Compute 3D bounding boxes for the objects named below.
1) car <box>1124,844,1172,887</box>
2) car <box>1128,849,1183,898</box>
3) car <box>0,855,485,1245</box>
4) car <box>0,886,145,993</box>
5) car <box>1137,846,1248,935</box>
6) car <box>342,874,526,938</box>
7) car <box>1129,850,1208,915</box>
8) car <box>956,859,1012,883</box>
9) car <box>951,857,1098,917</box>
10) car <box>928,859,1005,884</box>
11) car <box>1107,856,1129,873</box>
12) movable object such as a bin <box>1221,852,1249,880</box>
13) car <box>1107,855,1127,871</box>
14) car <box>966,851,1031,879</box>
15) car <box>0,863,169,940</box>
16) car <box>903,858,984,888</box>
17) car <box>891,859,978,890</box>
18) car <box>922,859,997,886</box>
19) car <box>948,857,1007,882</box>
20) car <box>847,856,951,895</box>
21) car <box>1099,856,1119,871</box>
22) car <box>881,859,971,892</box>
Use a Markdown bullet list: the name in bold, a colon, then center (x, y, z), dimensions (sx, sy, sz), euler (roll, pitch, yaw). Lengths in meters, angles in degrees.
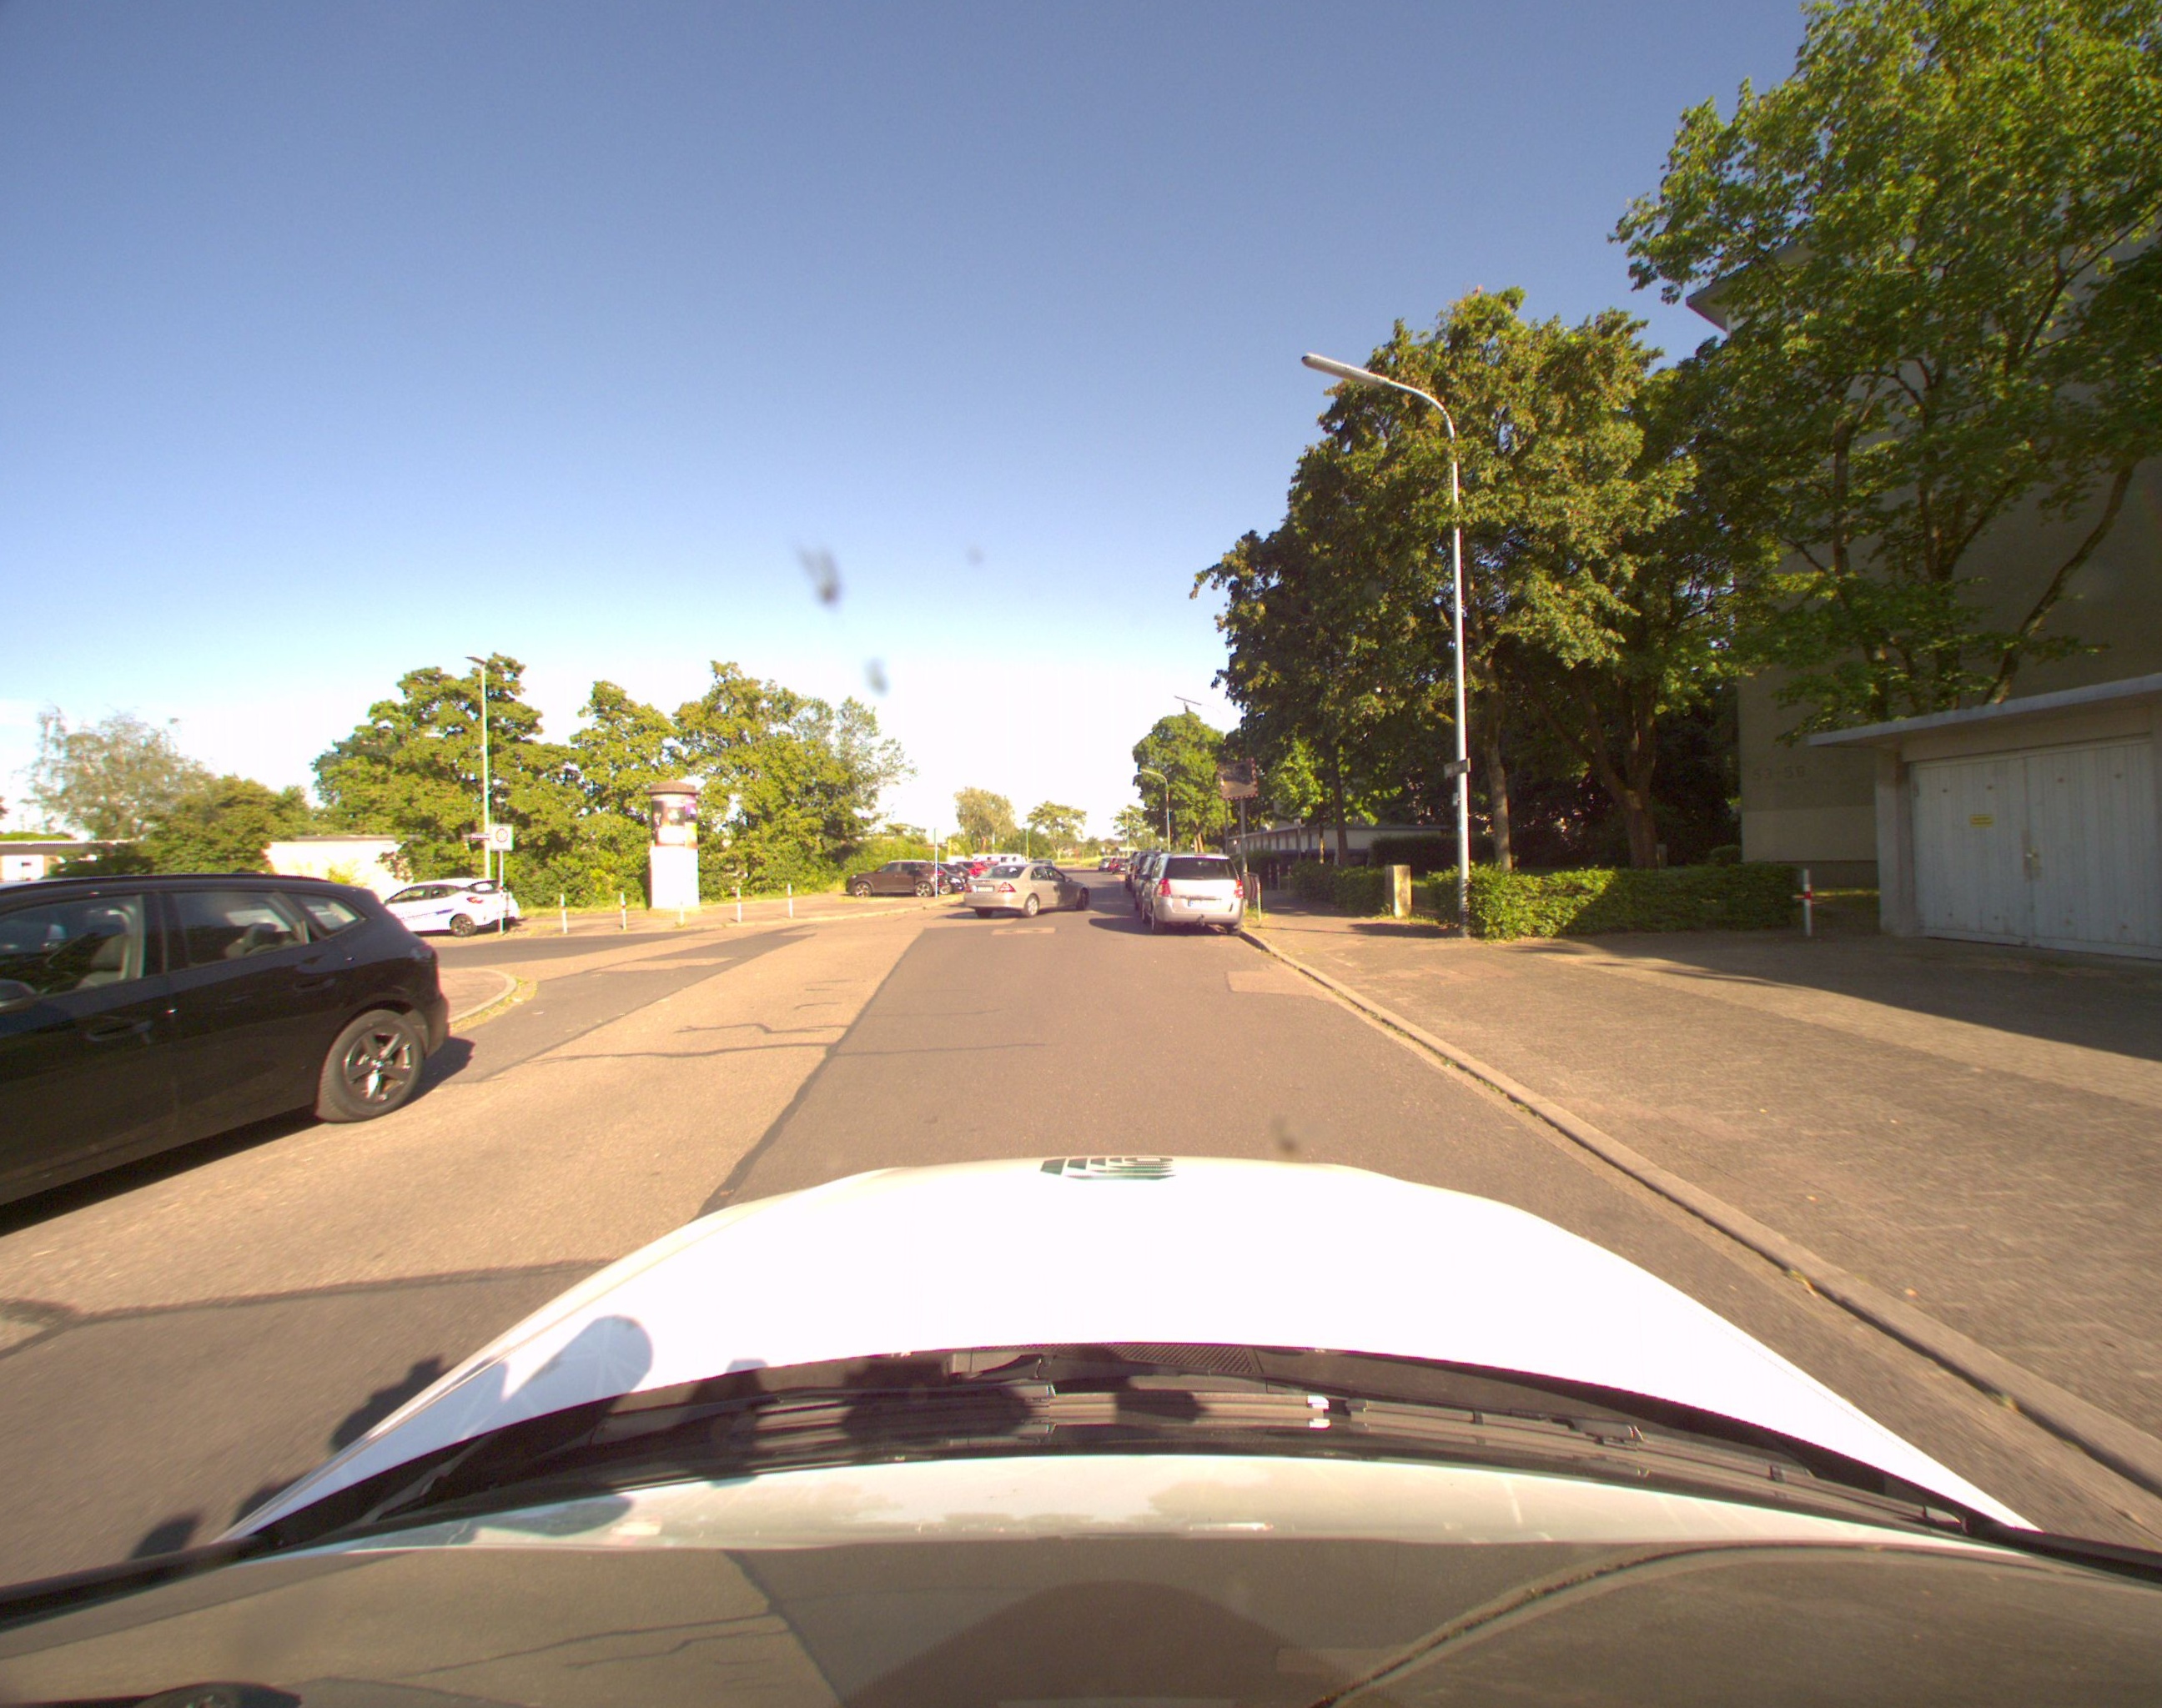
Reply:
- **car**: center (3.052, 0.492, 37.895), dimensions (1.900, 1.840, 5.275), euler (0, 0, 1)
- **car**: center (2.919, 0.711, 32.680), dimensions (1.827, 1.791, 4.555), euler (0, 0, 1)
- **car**: center (-5.303, 0.858, 3.672), dimensions (1.773, 1.574, 4.425), euler (-4, 0, 2)
- **car**: center (-17.846, 1.391, 12.907), dimensions (3.903, 1.543, 1.746), euler (-3, -1, -1)
- **car**: center (2.187, 0.701, 17.060), dimensions (1.762, 1.610, 4.372), euler (0, -1, 0)
- **car**: center (-17.410, 1.369, 22.053), dimensions (3.508, 1.462, 1.737), euler (-3, -1, -1)
- **car**: center (2.298, 0.728, 22.236), dimensions (1.798, 1.594, 4.024), euler (0, 0, 1)
- **car**: center (-6.674, 1.146, 56.340), dimensions (3.589, 1.567, 1.853), euler (0, 0, 1)
- **car**: center (-1.441, 0.842, 22.562), dimensions (1.799, 1.463, 4.388), euler (-1, 0, 32)
- **car**: center (-7.103, 1.094, 50.772), dimensions (4.527, 1.479, 1.748), euler (0, 0, 1)
- **car**: center (3.236, 0.899, 71.997), dimensions (1.643, 1.403, 3.879), euler (-2, -1, -2)
- **movable object such as a bin**: center (7.532, 0.583, 39.855), dimensions (1.241, 1.347, 1.056), euler (-2, -2, 13)
- **car**: center (3.499, 0.888, 79.599), dimensions (1.573, 1.446, 3.782), euler (-1, -1, -5)
- **car**: center (-5.995, 0.814, 59.452), dimensions (4.464, 1.977, 2.000), euler (0, -1, 0)
- **car**: center (-27.635, 1.287, 21.820), dimensions (4.317, 1.855, 1.737), euler (-3, -1, -1)
- **car**: center (-7.331, 1.017, 43.744), dimensions (4.006, 1.513, 1.905), euler (0, -1, -1)
- **car**: center (-7.386, 1.034, 41.336), dimensions (4.079, 1.513, 1.812), euler (0, -1, -1)
- **car**: center (-6.955, 1.050, 46.890), dimensions (3.972, 1.479, 1.791), euler (0, 0, 1)
- **car**: center (-6.838, 0.999, 53.837), dimensions (3.589, 1.567, 1.882), euler (0, 0, 1)
- **car**: center (-8.024, 0.938, 36.201), dimensions (4.174, 1.656, 1.846), euler (0, -1, -1)
- **car**: center (3.018, 1.078, 89.480), dimensions (1.728, 1.543, 3.782), euler (-1, -1, -5)
- **car**: center (-7.392, 1.011, 39.135), dimensions (3.974, 1.533, 1.831), euler (0, -1, -1)
